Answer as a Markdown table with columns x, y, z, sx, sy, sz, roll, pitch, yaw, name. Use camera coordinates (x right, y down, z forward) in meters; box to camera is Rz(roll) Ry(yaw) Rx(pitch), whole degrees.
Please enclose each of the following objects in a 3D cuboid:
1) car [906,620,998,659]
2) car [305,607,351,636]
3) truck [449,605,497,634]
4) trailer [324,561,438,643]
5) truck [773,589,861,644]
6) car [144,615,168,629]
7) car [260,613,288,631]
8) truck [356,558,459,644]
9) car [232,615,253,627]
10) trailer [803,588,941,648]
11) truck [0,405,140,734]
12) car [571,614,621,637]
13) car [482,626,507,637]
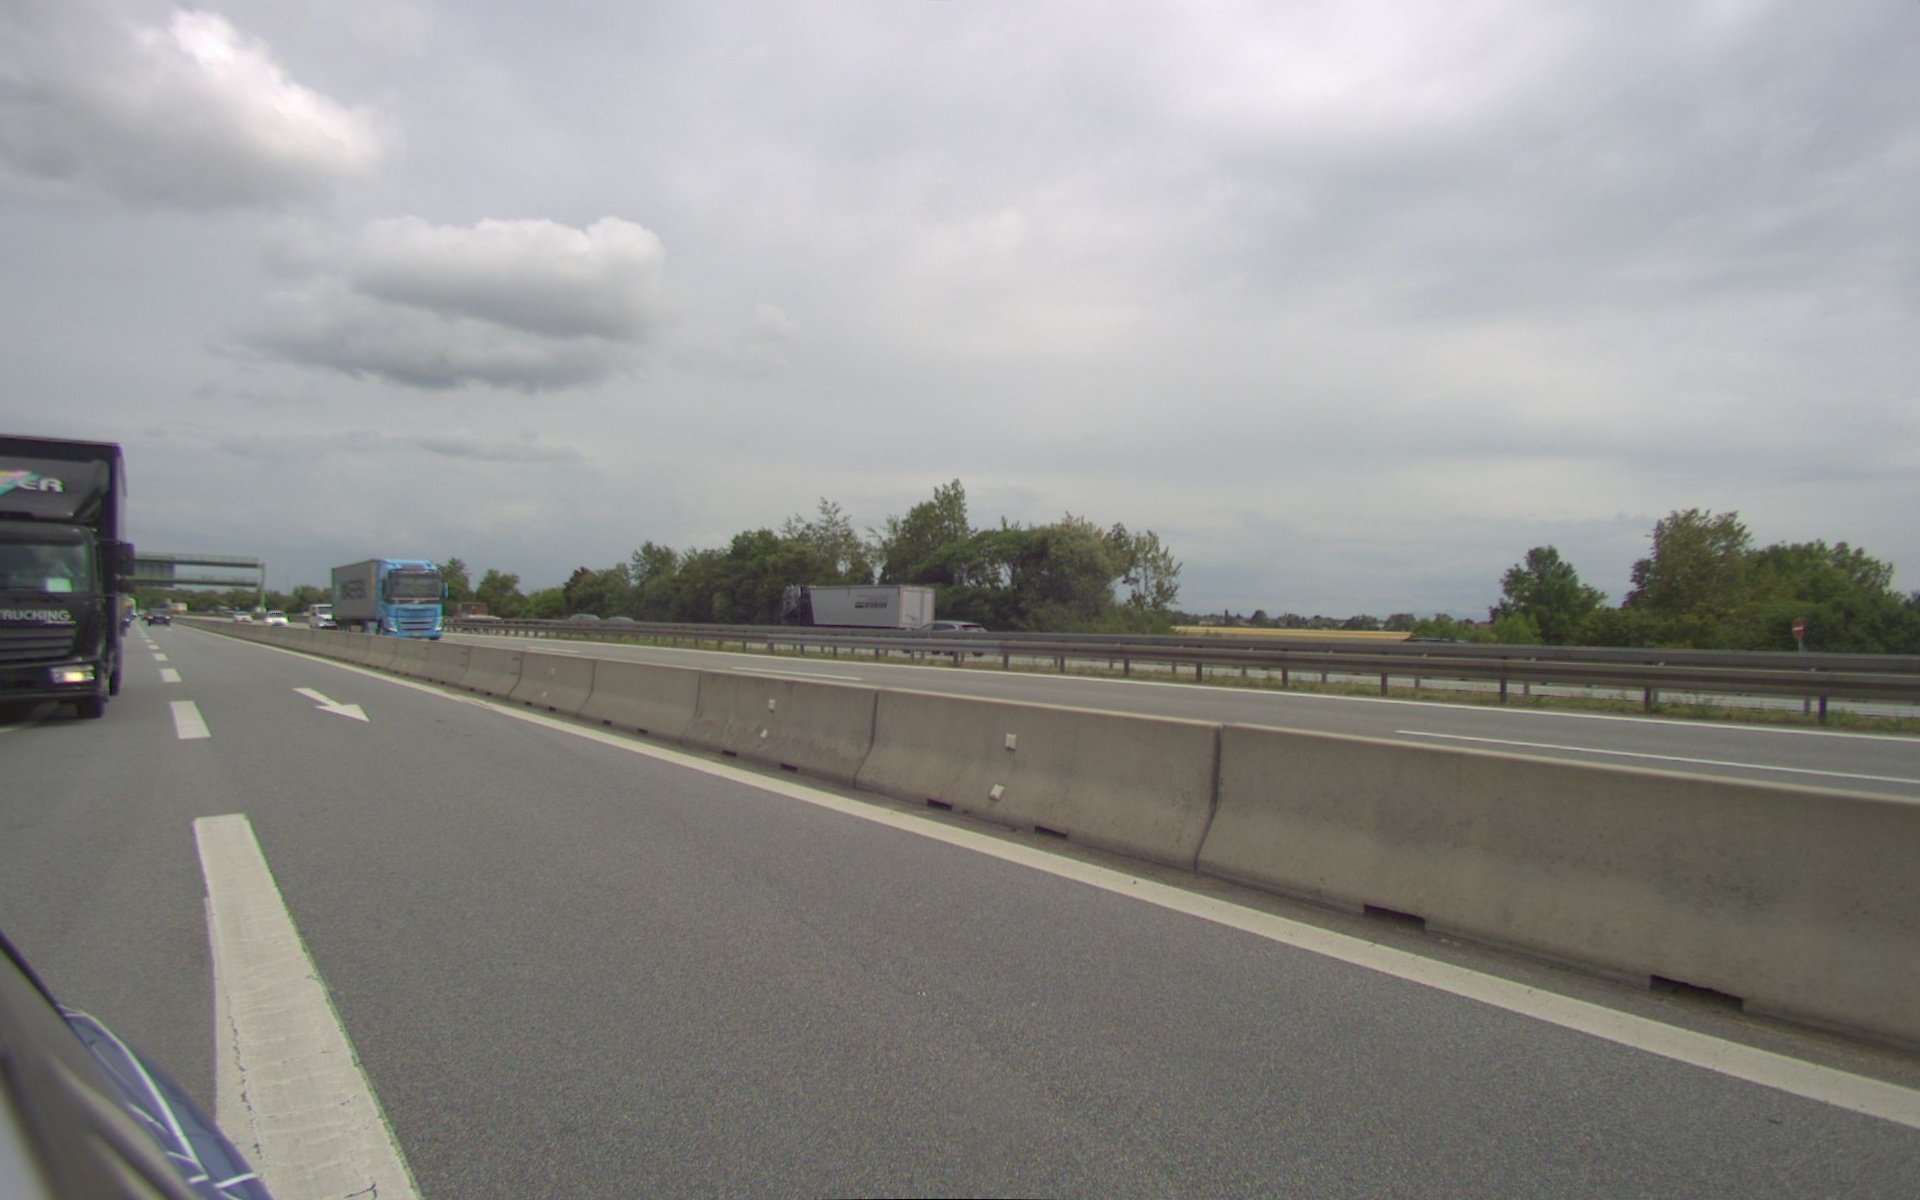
| x | y | z | sx | sy | sz | roll | pitch | yaw | name |
| --- | --- | --- | --- | --- | --- | --- | --- | --- | --- |
| -0.362 | 1.581 | 41.834 | 1.665 | 1.496 | 4.011 | 0 | -1 | -39 | car |
| -43.687 | 1.442 | 69.931 | 1.975 | 1.952 | 5.140 | -1 | 0 | -40 | car |
| -41.656 | 1.686 | 86.530 | 2.247 | 2.388 | 6.211 | 1 | -1 | -39 | truck |
| -31.544 | 0.143 | 54.793 | 3.196 | 3.954 | 12.400 | 0 | 0 | -40 | trailer |
| -9.296 | 1.059 | 65.567 | 3.111 | 3.355 | 5.630 | 1 | -1 | -41 | truck |
| -84.259 | 2.320 | 106.069 | 1.838 | 1.453 | 4.006 | 1 | -1 | -41 | car |
| -59.840 | 1.930 | 88.296 | 1.659 | 1.496 | 3.781 | 0 | -2 | -39 | car |
| -27.150 | 0.088 | 49.588 | 3.206 | 3.941 | 6.621 | 0 | -1 | -40 | truck |
| -92.181 | 2.682 | 130.002 | 1.730 | 1.379 | 4.211 | 1 | -1 | -41 | car |
| -5.484 | 1.065 | 61.164 | 3.158 | 3.294 | 9.838 | 1 | -1 | -41 | trailer |
| -15.055 | -0.319 | 16.176 | 2.978 | 3.984 | 10.359 | 0 | -1 | -39 | truck |
| -22.726 | 1.558 | 63.037 | 1.730 | 1.380 | 4.008 | 1 | -1 | -39 | car |
| -55.836 | 3.738 | 121.368 | 1.666 | 1.201 | 4.010 | 1 | -1 | -41 | car |
